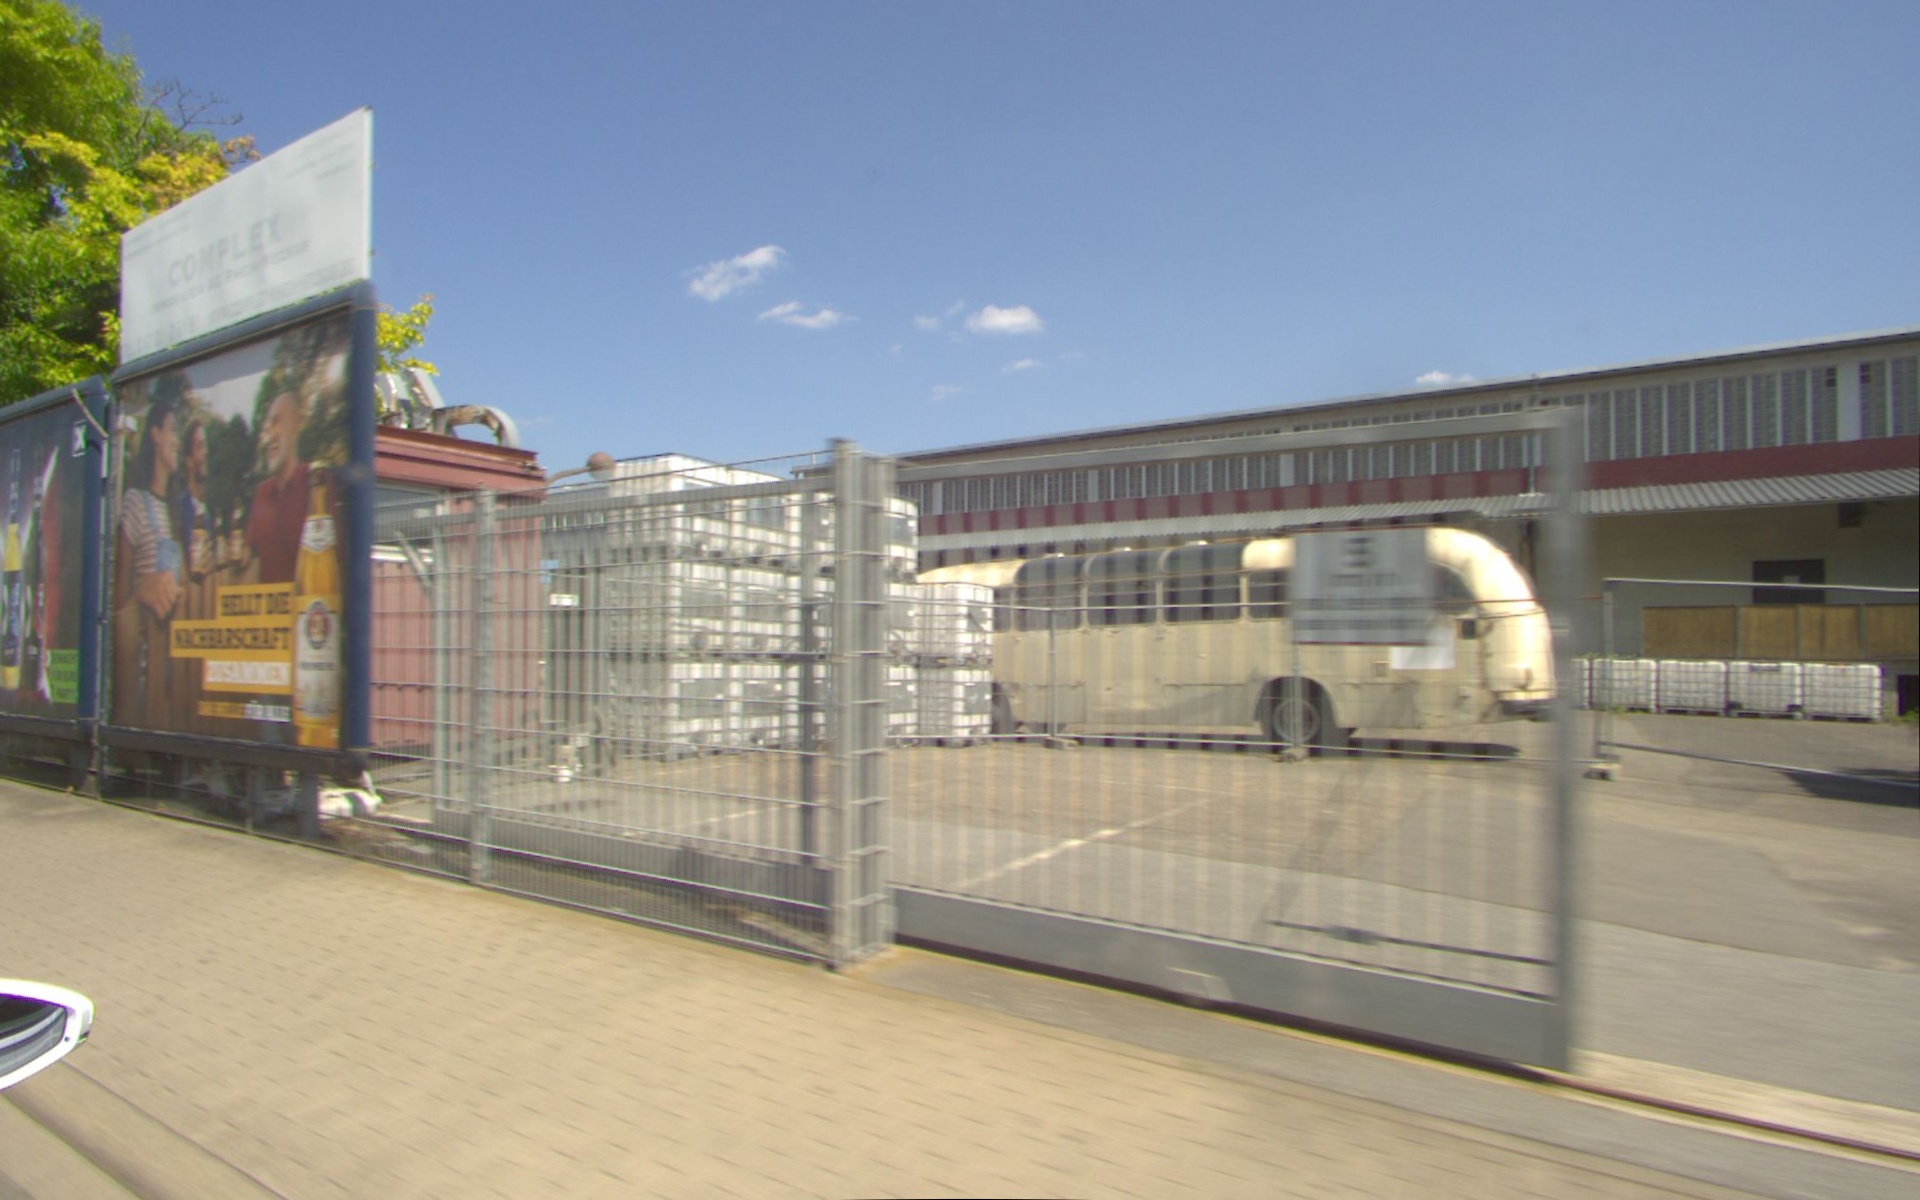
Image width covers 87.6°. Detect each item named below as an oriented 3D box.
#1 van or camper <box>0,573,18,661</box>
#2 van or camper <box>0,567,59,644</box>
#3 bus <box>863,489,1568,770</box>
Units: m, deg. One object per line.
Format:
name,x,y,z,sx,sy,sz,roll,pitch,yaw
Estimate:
van or camper,-33.504,0.421,31.363,2.020,2.850,5.492,2,-1,36
van or camper,-39.445,0.224,38.292,2.302,2.985,7.048,-1,-1,32
bus,3.287,0.575,15.294,10.127,3.210,2.561,-3,-3,33
